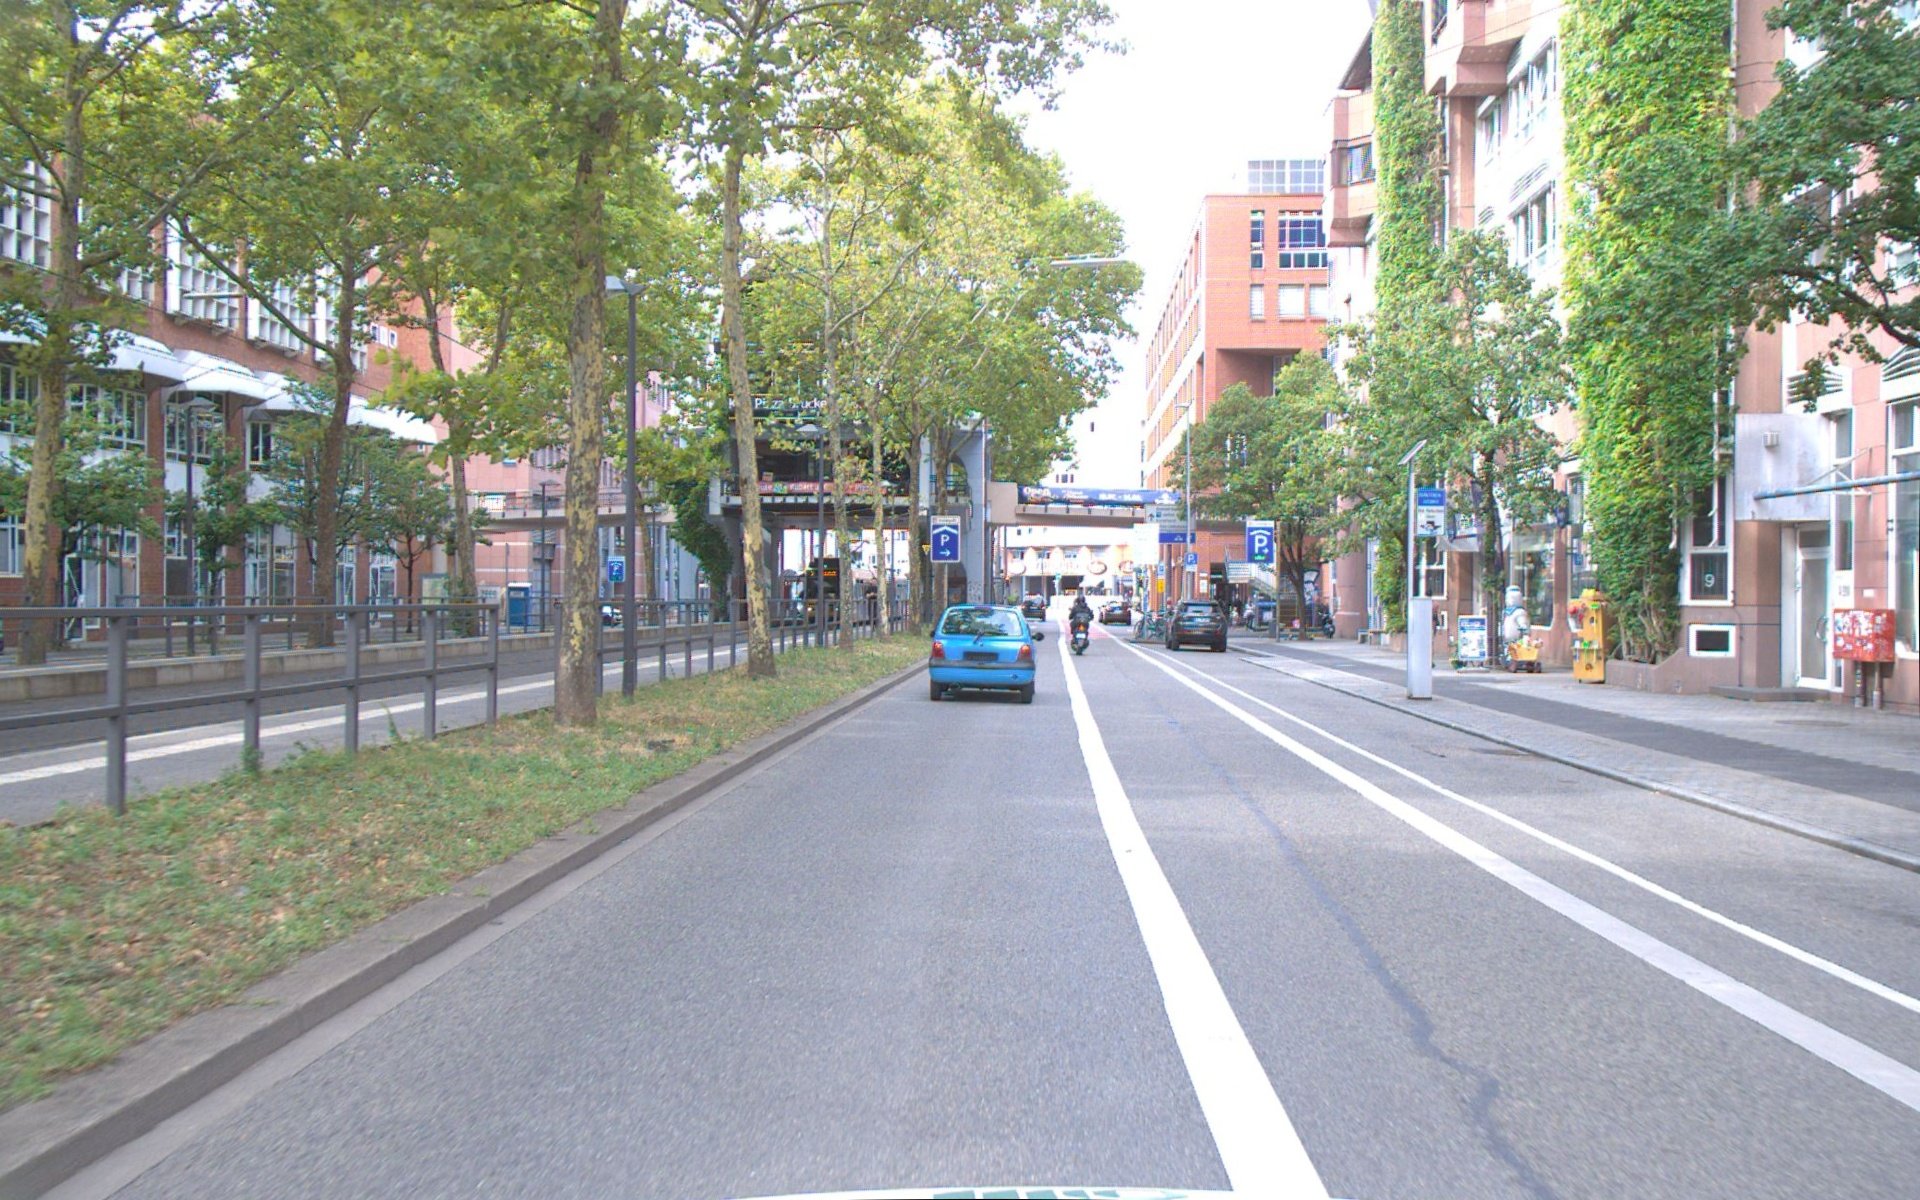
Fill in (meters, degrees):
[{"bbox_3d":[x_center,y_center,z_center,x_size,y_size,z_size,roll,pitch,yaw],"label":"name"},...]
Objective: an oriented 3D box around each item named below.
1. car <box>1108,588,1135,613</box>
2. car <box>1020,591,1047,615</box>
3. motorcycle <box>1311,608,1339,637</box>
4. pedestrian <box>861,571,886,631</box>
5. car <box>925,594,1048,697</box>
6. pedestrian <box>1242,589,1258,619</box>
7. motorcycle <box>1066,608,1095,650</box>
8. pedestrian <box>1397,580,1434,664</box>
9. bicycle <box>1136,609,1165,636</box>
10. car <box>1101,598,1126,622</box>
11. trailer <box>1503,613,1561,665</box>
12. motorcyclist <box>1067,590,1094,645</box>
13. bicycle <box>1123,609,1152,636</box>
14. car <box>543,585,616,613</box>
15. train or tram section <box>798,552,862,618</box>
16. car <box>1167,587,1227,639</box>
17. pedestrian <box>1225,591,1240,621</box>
[{"bbox_3d":[10.858,0.036,111.287,1.663,1.629,4.002,0,0,4],"label":"car"},{"bbox_3d":[5.220,0.228,117.317,1.847,1.652,4.002,0,0,4],"label":"car"},{"bbox_3d":[15.418,0.928,69.903,0.741,1.156,2.436,0,0,2],"label":"motorcycle"},{"bbox_3d":[-2.765,0.027,52.886,0.713,1.891,0.870,0,0,4],"label":"pedestrian"},{"bbox_3d":[0.479,0.647,25.609,1.606,1.410,3.845,1,1,5],"label":"car"},{"bbox_3d":[15.140,0.203,86.367,0.655,1.589,0.728,0,0,-1],"label":"pedestrian"},{"bbox_3d":[3.389,0.812,46.542,0.751,1.126,2.209,0,0,3],"label":"motorcycle"},{"bbox_3d":[10.376,0.488,37.700,0.633,1.891,0.783,0,0,2],"label":"pedestrian"},{"bbox_3d":[7.581,0.877,65.821,0.553,1.026,2.003,0,0,-12],"label":"bicycle"},{"bbox_3d":[10.869,0.704,117.202,1.663,1.629,4.002,0,0,4],"label":"car"},{"bbox_3d":[12.422,0.839,35.904,0.972,1.077,1.607,0,0,27],"label":"trailer"},{"bbox_3d":[3.386,0.483,46.622,0.743,1.545,1.018,0,0,3],"label":"motorcyclist"},{"bbox_3d":[7.008,0.870,65.403,0.553,1.026,2.003,0,0,-12],"label":"bicycle"},{"bbox_3d":[-22.560,-0.053,98.123,3.905,1.652,1.805,0,0,-1],"label":"car"},{"bbox_3d":[-6.859,-0.765,88.318,2.339,3.310,8.821,0,0,3],"label":"train or tram section"},{"bbox_3d":[7.732,0.394,54.281,1.663,1.629,4.002,0,0,4],"label":"car"},{"bbox_3d":[14.272,0.306,86.724,0.655,1.589,0.728,0,0,-1],"label":"pedestrian"}]
